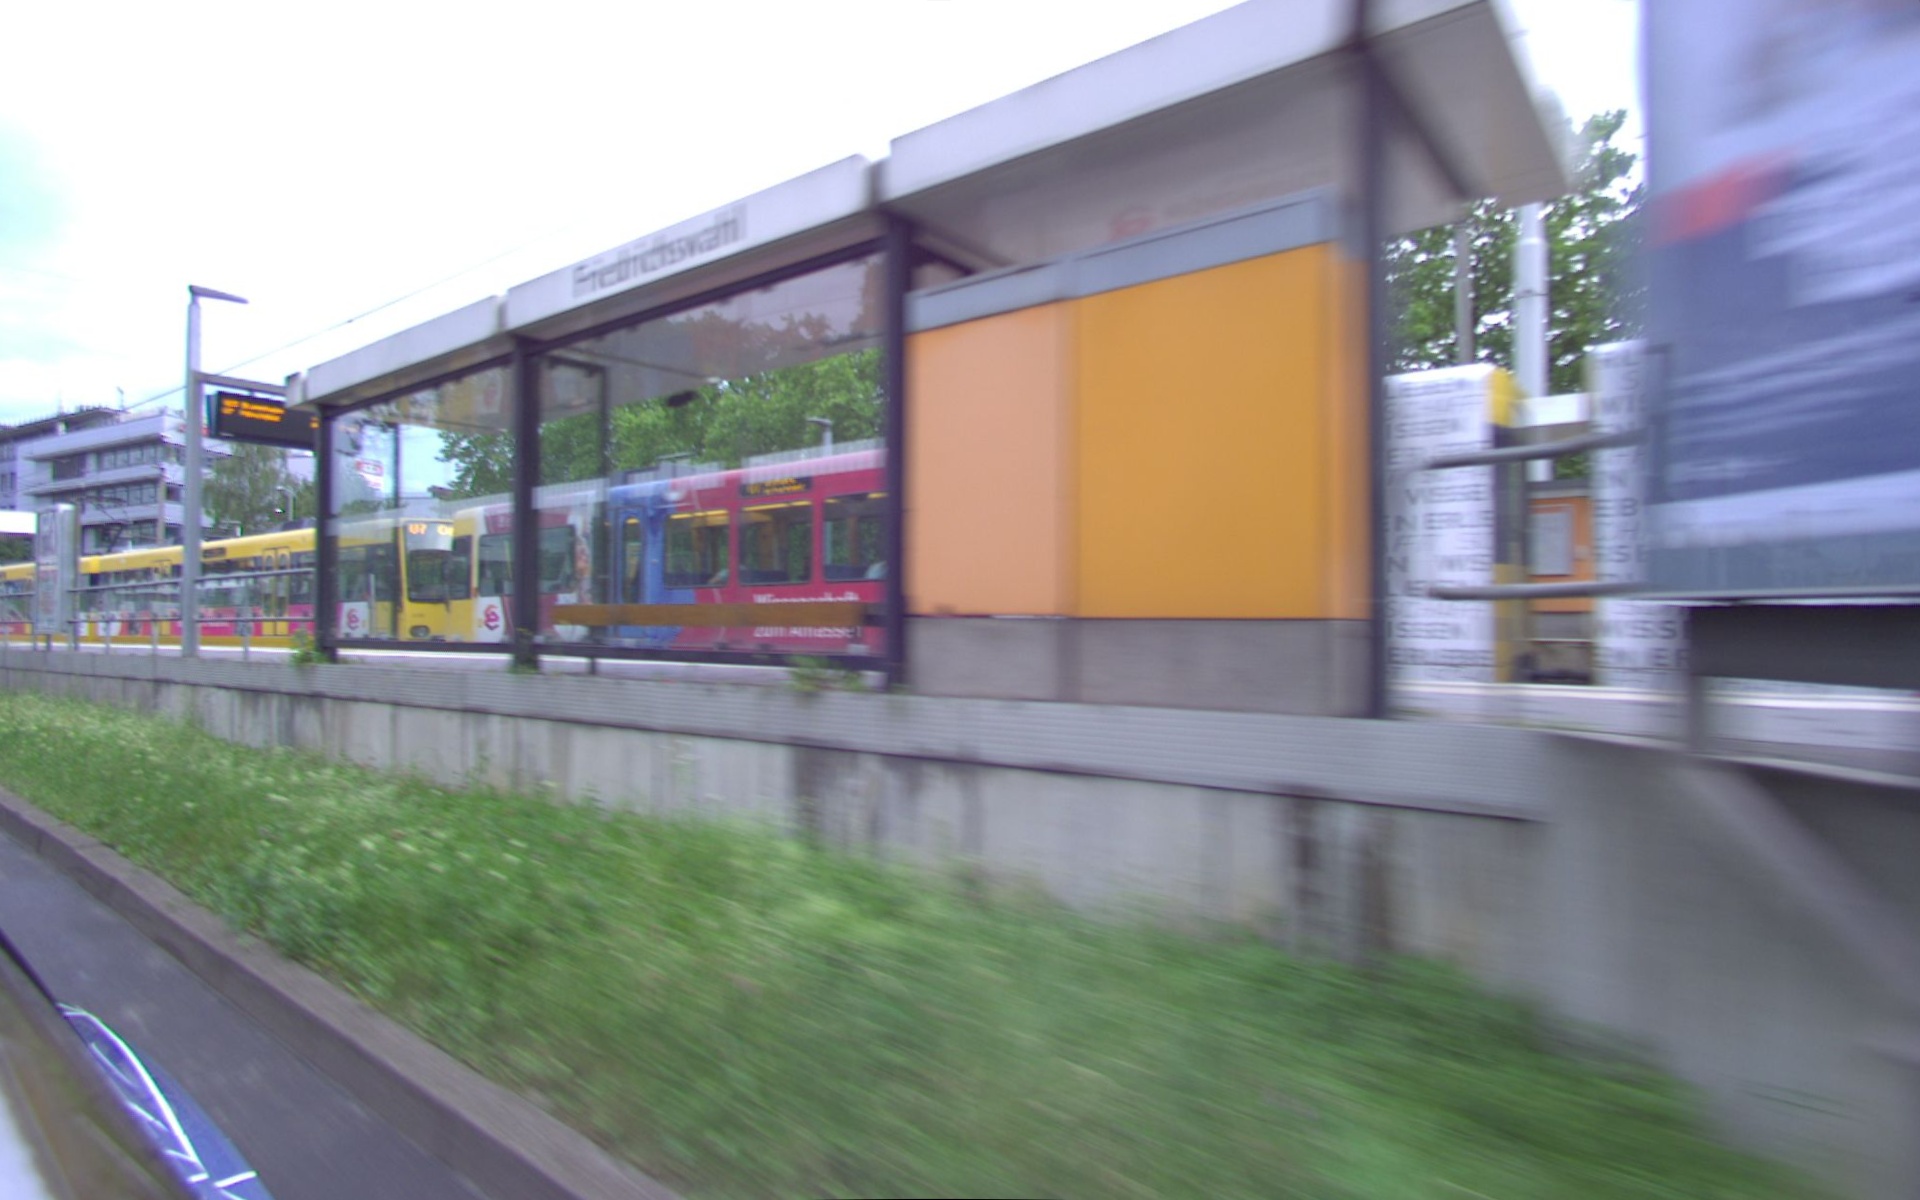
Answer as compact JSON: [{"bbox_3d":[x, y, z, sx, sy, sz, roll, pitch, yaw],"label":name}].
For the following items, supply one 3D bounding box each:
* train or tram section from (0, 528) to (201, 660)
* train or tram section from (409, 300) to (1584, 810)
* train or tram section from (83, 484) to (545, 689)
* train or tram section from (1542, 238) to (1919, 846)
[{"bbox_3d":[-33.772,-0.166,37.117,19.269,4.002,2.846,0,1,33],"label":"train or tram section"},{"bbox_3d":[-2.207,-0.360,14.975,19.301,4.000,2.841,0,2,38],"label":"train or tram section"},{"bbox_3d":[-17.799,-0.266,26.350,19.283,3.983,2.844,0,1,35],"label":"train or tram section"},{"bbox_3d":[12.929,-0.426,2.919,19.315,3.990,2.839,0,2,40],"label":"train or tram section"}]
